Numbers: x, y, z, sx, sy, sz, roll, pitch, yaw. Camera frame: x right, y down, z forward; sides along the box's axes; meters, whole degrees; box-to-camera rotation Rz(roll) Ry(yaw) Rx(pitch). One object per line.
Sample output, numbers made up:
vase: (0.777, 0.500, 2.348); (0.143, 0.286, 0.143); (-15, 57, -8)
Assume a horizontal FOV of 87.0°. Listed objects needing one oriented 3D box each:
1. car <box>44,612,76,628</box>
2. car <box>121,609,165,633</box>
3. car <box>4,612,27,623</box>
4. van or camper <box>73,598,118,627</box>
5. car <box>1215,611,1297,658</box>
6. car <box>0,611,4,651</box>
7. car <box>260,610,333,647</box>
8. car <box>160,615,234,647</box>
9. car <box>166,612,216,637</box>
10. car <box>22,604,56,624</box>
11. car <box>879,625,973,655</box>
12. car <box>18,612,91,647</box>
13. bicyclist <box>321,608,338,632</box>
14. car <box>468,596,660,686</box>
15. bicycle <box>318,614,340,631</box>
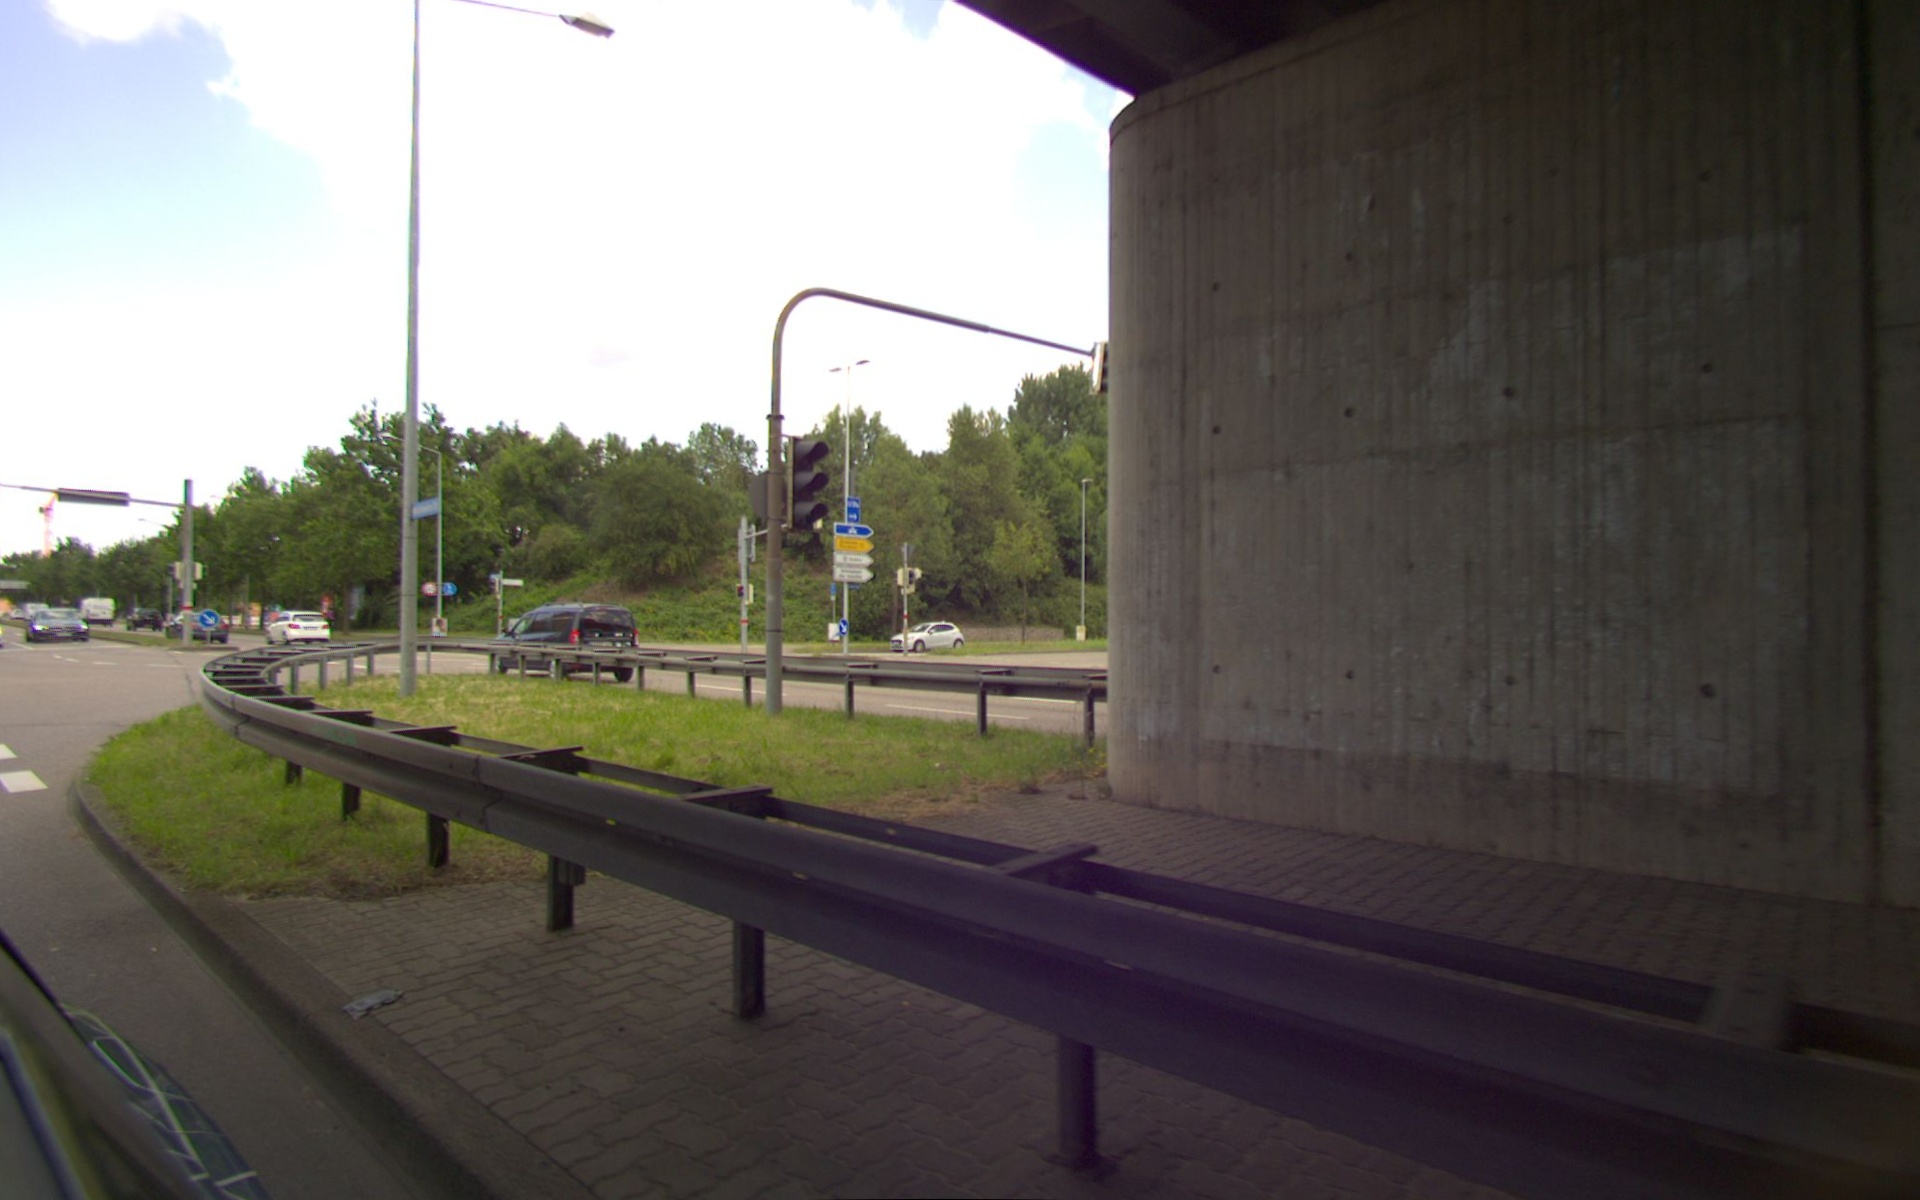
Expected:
car: (-103.954, 2.315, 116.821); (4.403, 1.815, 1.974); (-1, -2, 38)
car: (-61.358, 1.580, 75.966); (4.219, 1.780, 1.972); (-1, -2, 42)
car: (-129.208, 2.438, 138.418); (5.025, 1.442, 1.971); (-1, -2, 44)
van or camper: (-80.140, 1.175, 93.782); (7.062, 2.559, 2.326); (-1, -1, 42)
car: (13.223, 1.521, 45.115); (2.000, 2.029, 3.943); (-1, -2, 43)
car: (-37.132, 1.195, 37.724); (4.295, 1.425, 1.894); (-1, 1, 43)
car: (-30.638, 1.307, 46.685); (4.392, 1.644, 1.786); (-1, -2, 43)
car: (-35.542, 1.425, 47.114); (4.781, 1.400, 1.952); (-1, -3, 43)
car: (-49.288, 1.549, 64.836); (4.001, 1.541, 1.904); (0, -2, 44)
car: (-98.722, 1.521, 108.447); (5.192, 1.979, 2.167); (-1, -2, 42)
car: (-1.632, 1.916, 49.295); (4.255, 1.389, 2.003); (2, -2, -41)
car: (-39.467, 1.242, 44.065); (4.832, 1.426, 1.972); (-1, -1, 43)
bicyclist: (-47.119, 1.504, 75.588); (0.998, 1.760, 0.882); (-1, 0, 45)
car: (-8.783, 0.865, 22.254); (4.715, 1.772, 1.973); (-1, -2, 41)
bicycle: (-47.154, 1.681, 75.649); (2.394, 1.279, 0.812); (0, 0, 44)
